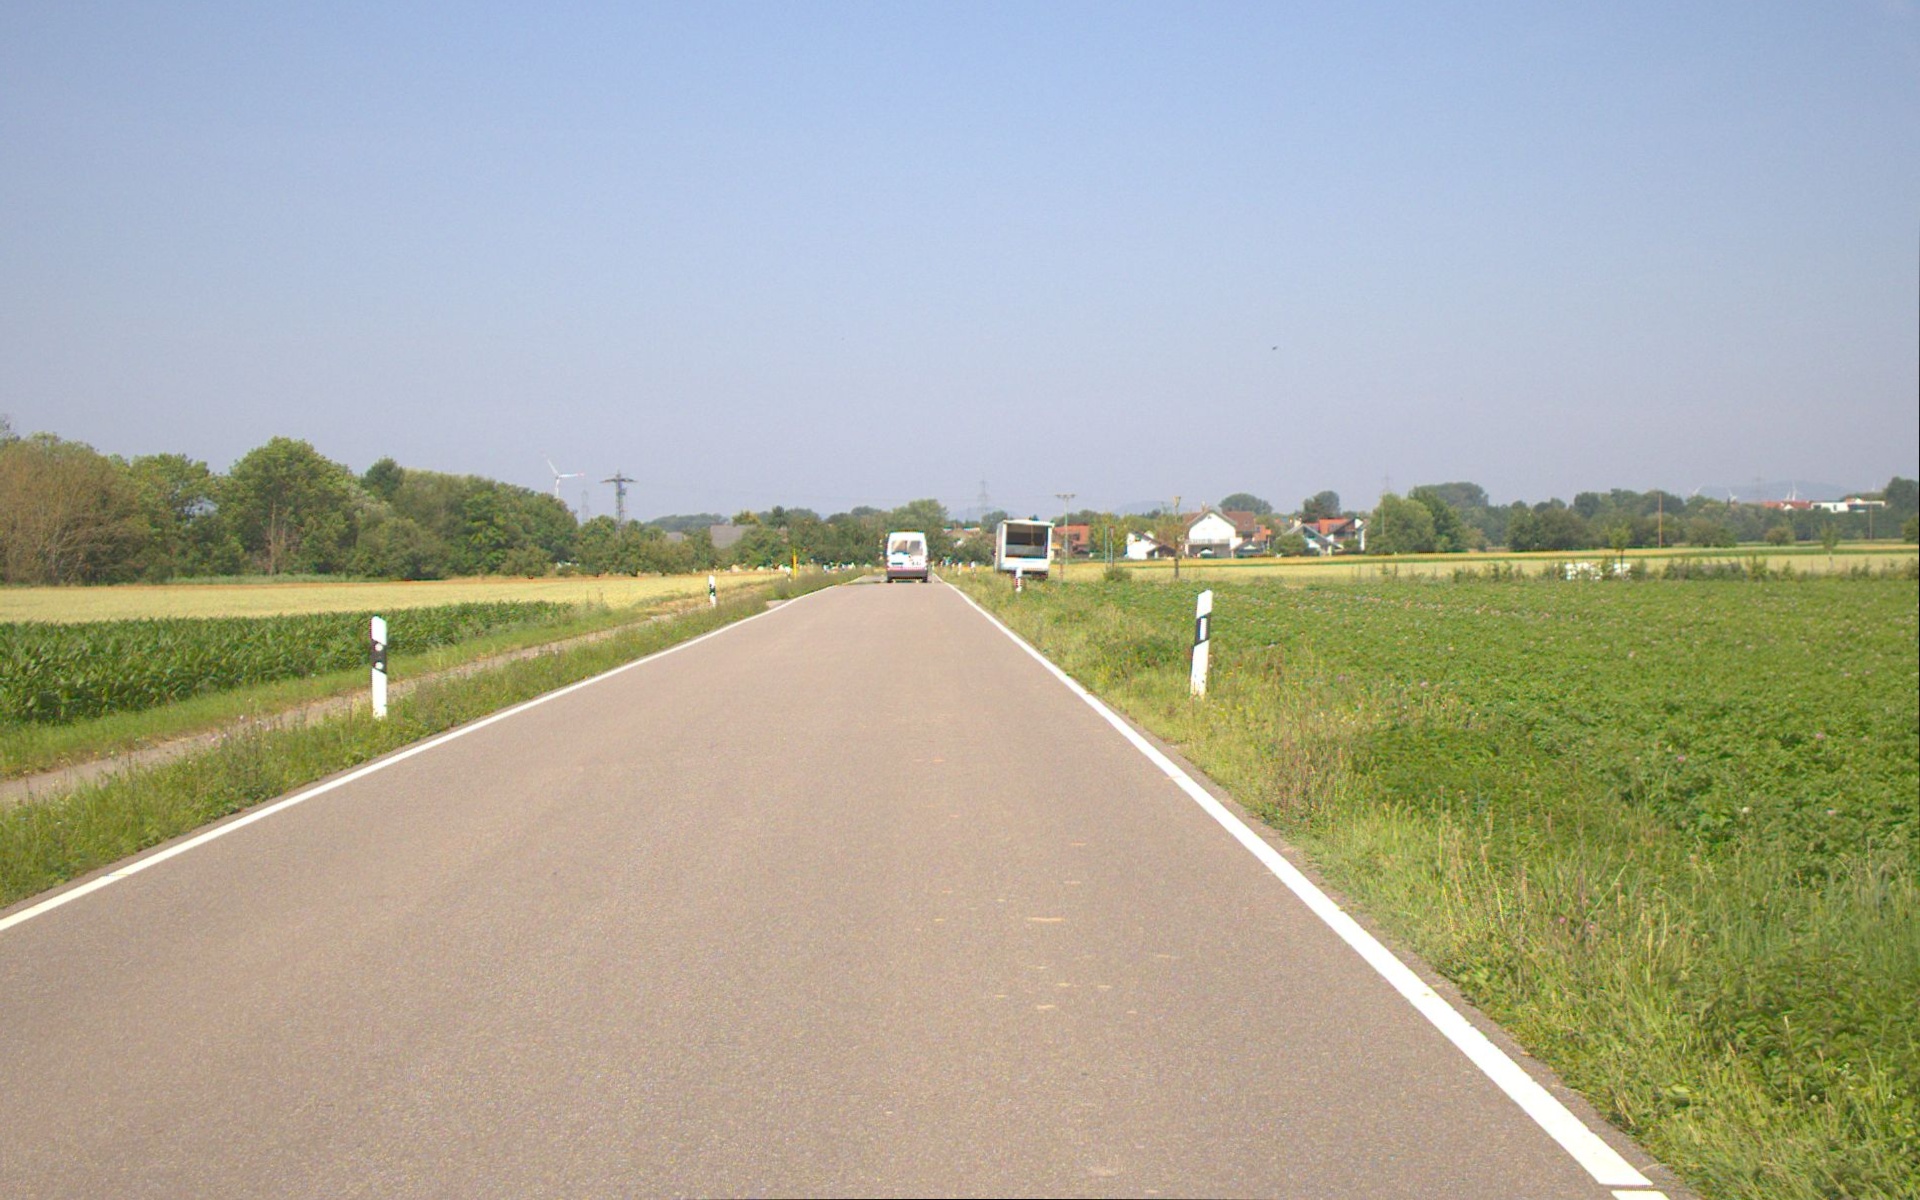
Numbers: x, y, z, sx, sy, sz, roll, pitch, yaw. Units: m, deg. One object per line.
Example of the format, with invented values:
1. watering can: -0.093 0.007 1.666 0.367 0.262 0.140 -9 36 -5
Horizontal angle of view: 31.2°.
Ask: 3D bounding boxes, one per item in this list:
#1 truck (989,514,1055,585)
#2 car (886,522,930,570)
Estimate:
1. truck: 2.684 -2.191 150.766 2.335 2.932 7.009 2 0 -3
2. car: -2.587 -2.664 169.749 2.107 2.296 5.496 1 0 -1
